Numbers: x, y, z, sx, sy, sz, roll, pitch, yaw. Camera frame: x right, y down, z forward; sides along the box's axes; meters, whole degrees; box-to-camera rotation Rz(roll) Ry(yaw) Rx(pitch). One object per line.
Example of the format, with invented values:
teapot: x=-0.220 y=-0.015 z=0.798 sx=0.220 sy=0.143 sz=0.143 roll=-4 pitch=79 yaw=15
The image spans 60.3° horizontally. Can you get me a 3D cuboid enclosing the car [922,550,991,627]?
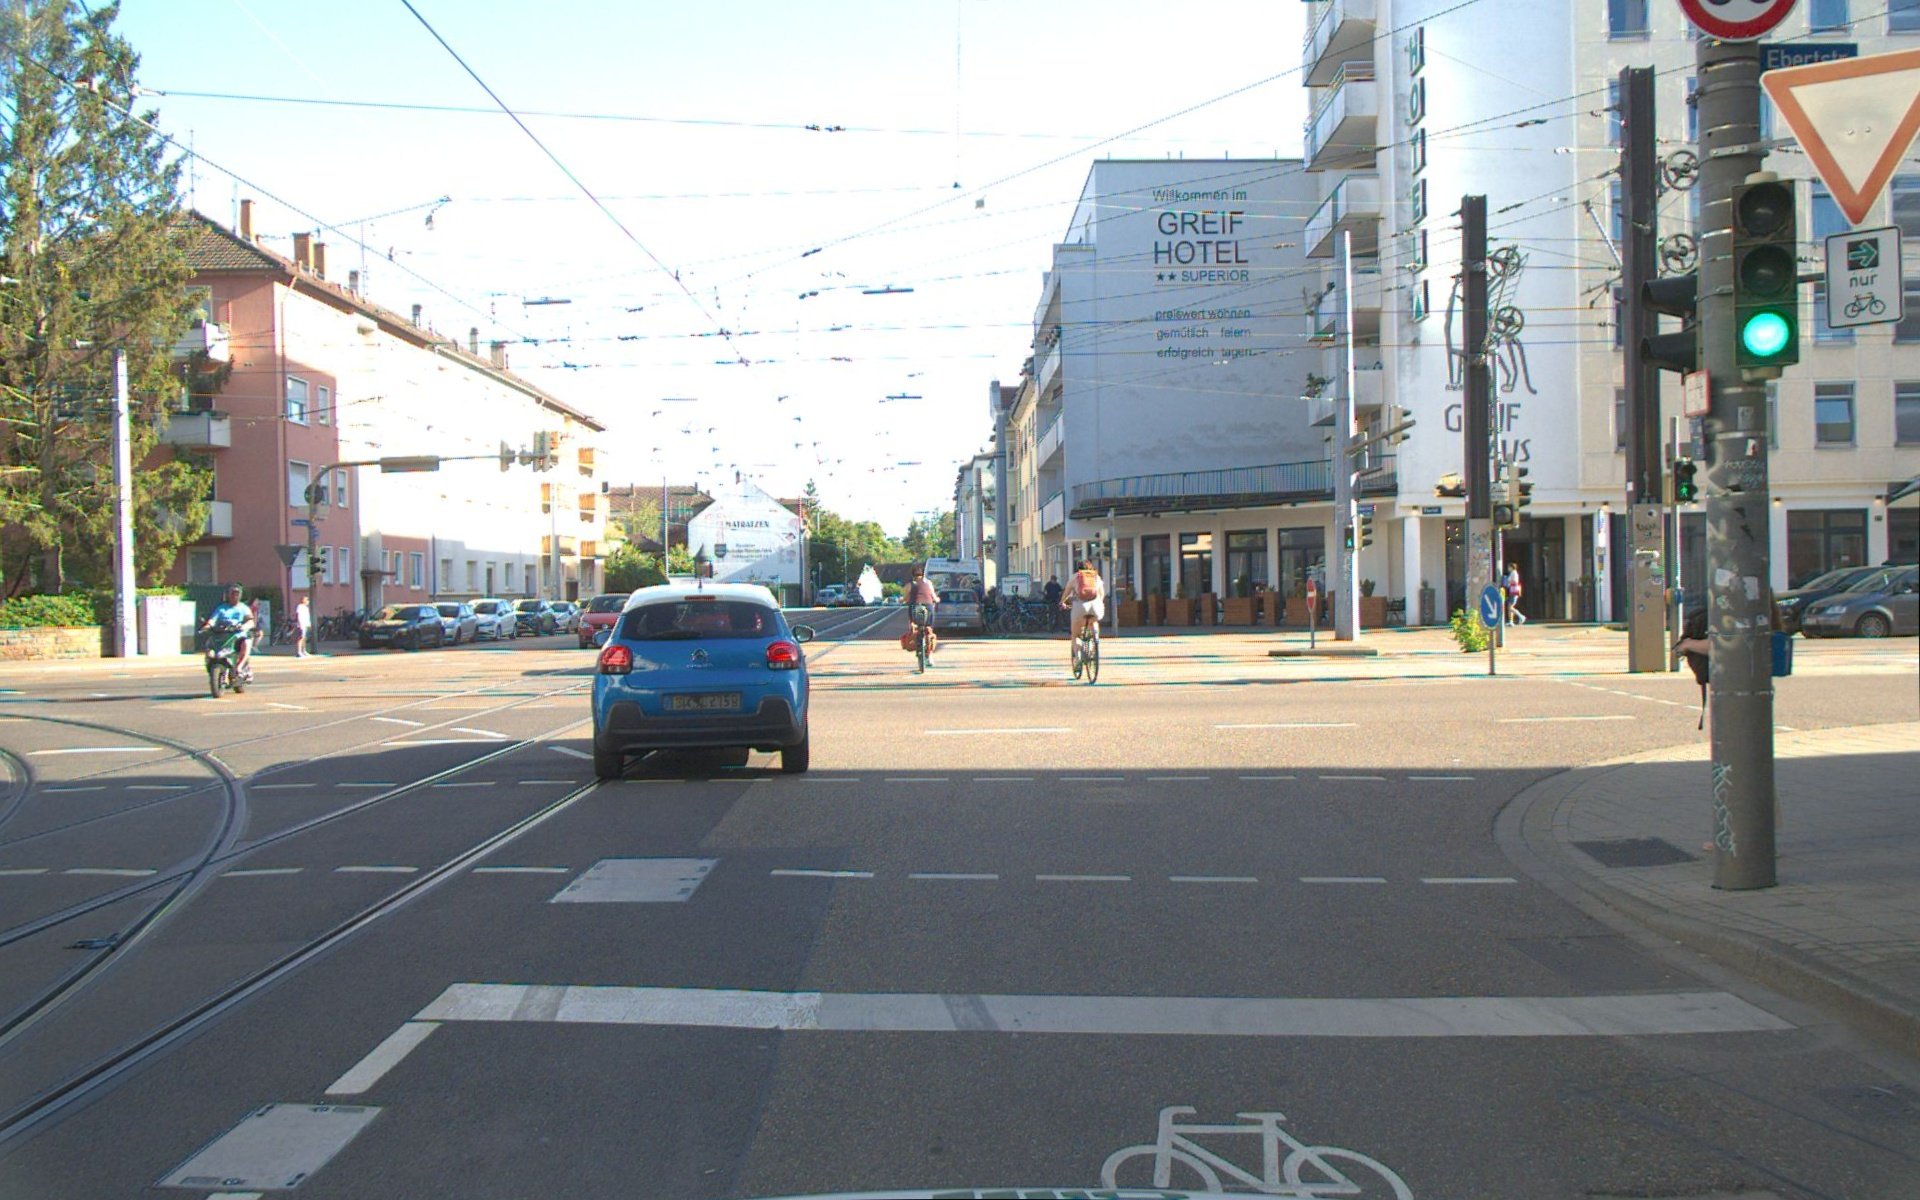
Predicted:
car: x=-0.173 y=-0.384 z=57.168 sx=2.220 sy=2.525 sz=5.006 roll=0 pitch=0 yaw=-2

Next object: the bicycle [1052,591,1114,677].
bicycle: x=1.826 y=0.479 z=24.274 sx=0.793 sy=1.202 sz=2.065 roll=1 pitch=0 yaw=7

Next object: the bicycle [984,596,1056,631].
bicycle: x=1.903 y=0.427 z=52.643 sx=2.206 sy=1.019 sz=0.856 roll=-2 pitch=0 yaw=-3

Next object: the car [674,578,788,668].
car: x=-4.242 y=0.378 z=31.161 sx=1.749 sy=1.548 sz=3.761 roll=1 pitch=1 yaw=-2

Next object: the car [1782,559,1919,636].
car: x=19.957 y=-0.048 z=34.801 sx=4.345 sy=1.575 sz=1.937 roll=0 pitch=0 yaw=3

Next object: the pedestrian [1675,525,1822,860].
pedestrian: x=4.107 y=0.472 z=8.653 sx=0.528 sy=1.652 sz=0.733 roll=-5 pitch=-2 yaw=24

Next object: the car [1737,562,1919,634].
car: x=20.354 y=-0.050 z=38.255 sx=3.950 sy=1.603 sz=1.795 roll=0 pitch=0 yaw=0

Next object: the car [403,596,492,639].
car: x=-18.437 y=0.605 z=59.683 sx=1.864 sy=1.462 sz=4.102 roll=1 pitch=0 yaw=0

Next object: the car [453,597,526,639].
car: x=-18.292 y=0.671 z=64.471 sx=1.706 sy=1.552 sz=4.229 roll=1 pitch=0 yaw=-1

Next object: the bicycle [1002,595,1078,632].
bicycle: x=2.423 y=0.417 z=50.156 sx=2.206 sy=1.019 sz=0.856 roll=-2 pitch=0 yaw=-3

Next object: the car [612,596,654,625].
car: x=-19.236 y=0.612 z=97.503 sx=1.832 sy=1.604 sz=3.998 roll=1 pitch=0 yaw=-3

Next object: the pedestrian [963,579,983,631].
pedestrian: x=0.426 y=0.162 z=54.242 sx=0.601 sy=1.683 sz=0.670 roll=1 pitch=0 yaw=-5

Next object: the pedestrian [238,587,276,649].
pedestrian: x=-20.086 y=0.515 z=47.241 sx=0.692 sy=1.752 sz=0.779 roll=1 pitch=0 yaw=43

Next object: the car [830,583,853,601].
car: x=-12.339 y=-0.791 z=172.607 sx=2.032 sy=1.793 sz=5.036 roll=1 pitch=0 yaw=-1

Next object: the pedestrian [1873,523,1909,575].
pedestrian: x=25.559 y=-1.387 z=45.413 sx=0.519 sy=1.400 sz=0.681 roll=1 pitch=0 yaw=-20

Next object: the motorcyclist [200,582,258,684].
motorcyclist: x=-11.242 y=0.507 z=25.445 sx=0.681 sy=1.523 sz=0.682 roll=-1 pitch=-2 yaw=-12

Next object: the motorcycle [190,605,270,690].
motorcycle: x=-11.196 y=0.731 z=25.418 sx=0.699 sy=1.241 sz=1.960 roll=-1 pitch=-1 yaw=-11

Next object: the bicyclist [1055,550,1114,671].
bicyclist: x=1.814 y=0.150 z=24.062 sx=0.793 sy=1.721 sz=0.936 roll=1 pitch=0 yaw=7

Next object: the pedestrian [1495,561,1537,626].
pedestrian: x=15.377 y=-0.178 z=45.734 sx=0.888 sy=1.776 sz=0.737 roll=1 pitch=0 yaw=-1

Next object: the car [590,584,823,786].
car: x=-2.108 y=0.614 z=14.025 sx=1.704 sy=1.478 sz=3.656 roll=0 pitch=0 yaw=-8

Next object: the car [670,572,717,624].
car: x=-16.726 y=-0.124 z=103.946 sx=2.368 sy=3.197 sz=3.488 roll=1 pitch=0 yaw=-1

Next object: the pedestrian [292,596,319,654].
pedestrian: x=-18.274 y=0.699 z=46.170 sx=0.506 sy=1.596 sz=0.573 roll=1 pitch=0 yaw=-1

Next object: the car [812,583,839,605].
car: x=-12.589 y=-0.534 z=155.056 sx=2.173 sy=1.965 sz=4.948 roll=1 pitch=0 yaw=-1

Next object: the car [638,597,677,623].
car: x=-19.092 y=0.610 z=104.504 sx=1.832 sy=1.604 sz=3.998 roll=1 pitch=0 yaw=-3

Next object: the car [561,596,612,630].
car: x=-18.774 y=0.631 z=83.351 sx=1.832 sy=1.604 sz=3.998 roll=1 pitch=0 yaw=-3

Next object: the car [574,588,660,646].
car: x=-9.580 y=0.448 z=46.474 sx=1.743 sy=1.512 sz=3.827 roll=-1 pitch=0 yaw=-2

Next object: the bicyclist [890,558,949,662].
bicyclist: x=-0.666 y=0.163 z=27.669 sx=0.921 sy=1.702 sz=1.079 roll=1 pitch=0 yaw=1

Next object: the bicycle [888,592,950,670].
bicycle: x=-0.672 y=0.504 z=27.719 sx=0.921 sy=1.245 sz=2.095 roll=1 pitch=0 yaw=1

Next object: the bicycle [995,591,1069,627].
bicycle: x=2.237 y=0.290 z=51.535 sx=2.206 sy=1.019 sz=0.856 roll=-2 pitch=0 yaw=-3

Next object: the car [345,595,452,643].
car: x=-18.305 y=0.651 z=54.163 sx=2.111 sy=1.457 sz=4.438 roll=1 pitch=-2 yaw=-2

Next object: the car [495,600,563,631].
car: x=-18.479 y=0.637 z=71.071 sx=1.908 sy=1.261 sz=4.281 roll=1 pitch=0 yaw=-2

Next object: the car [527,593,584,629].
car: x=-18.859 y=0.488 z=77.288 sx=1.832 sy=1.604 sz=3.998 roll=1 pitch=0 yaw=-3

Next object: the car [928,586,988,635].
car: x=-0.108 y=0.324 z=52.214 sx=1.625 sy=1.456 sz=3.885 roll=1 pitch=0 yaw=-4
